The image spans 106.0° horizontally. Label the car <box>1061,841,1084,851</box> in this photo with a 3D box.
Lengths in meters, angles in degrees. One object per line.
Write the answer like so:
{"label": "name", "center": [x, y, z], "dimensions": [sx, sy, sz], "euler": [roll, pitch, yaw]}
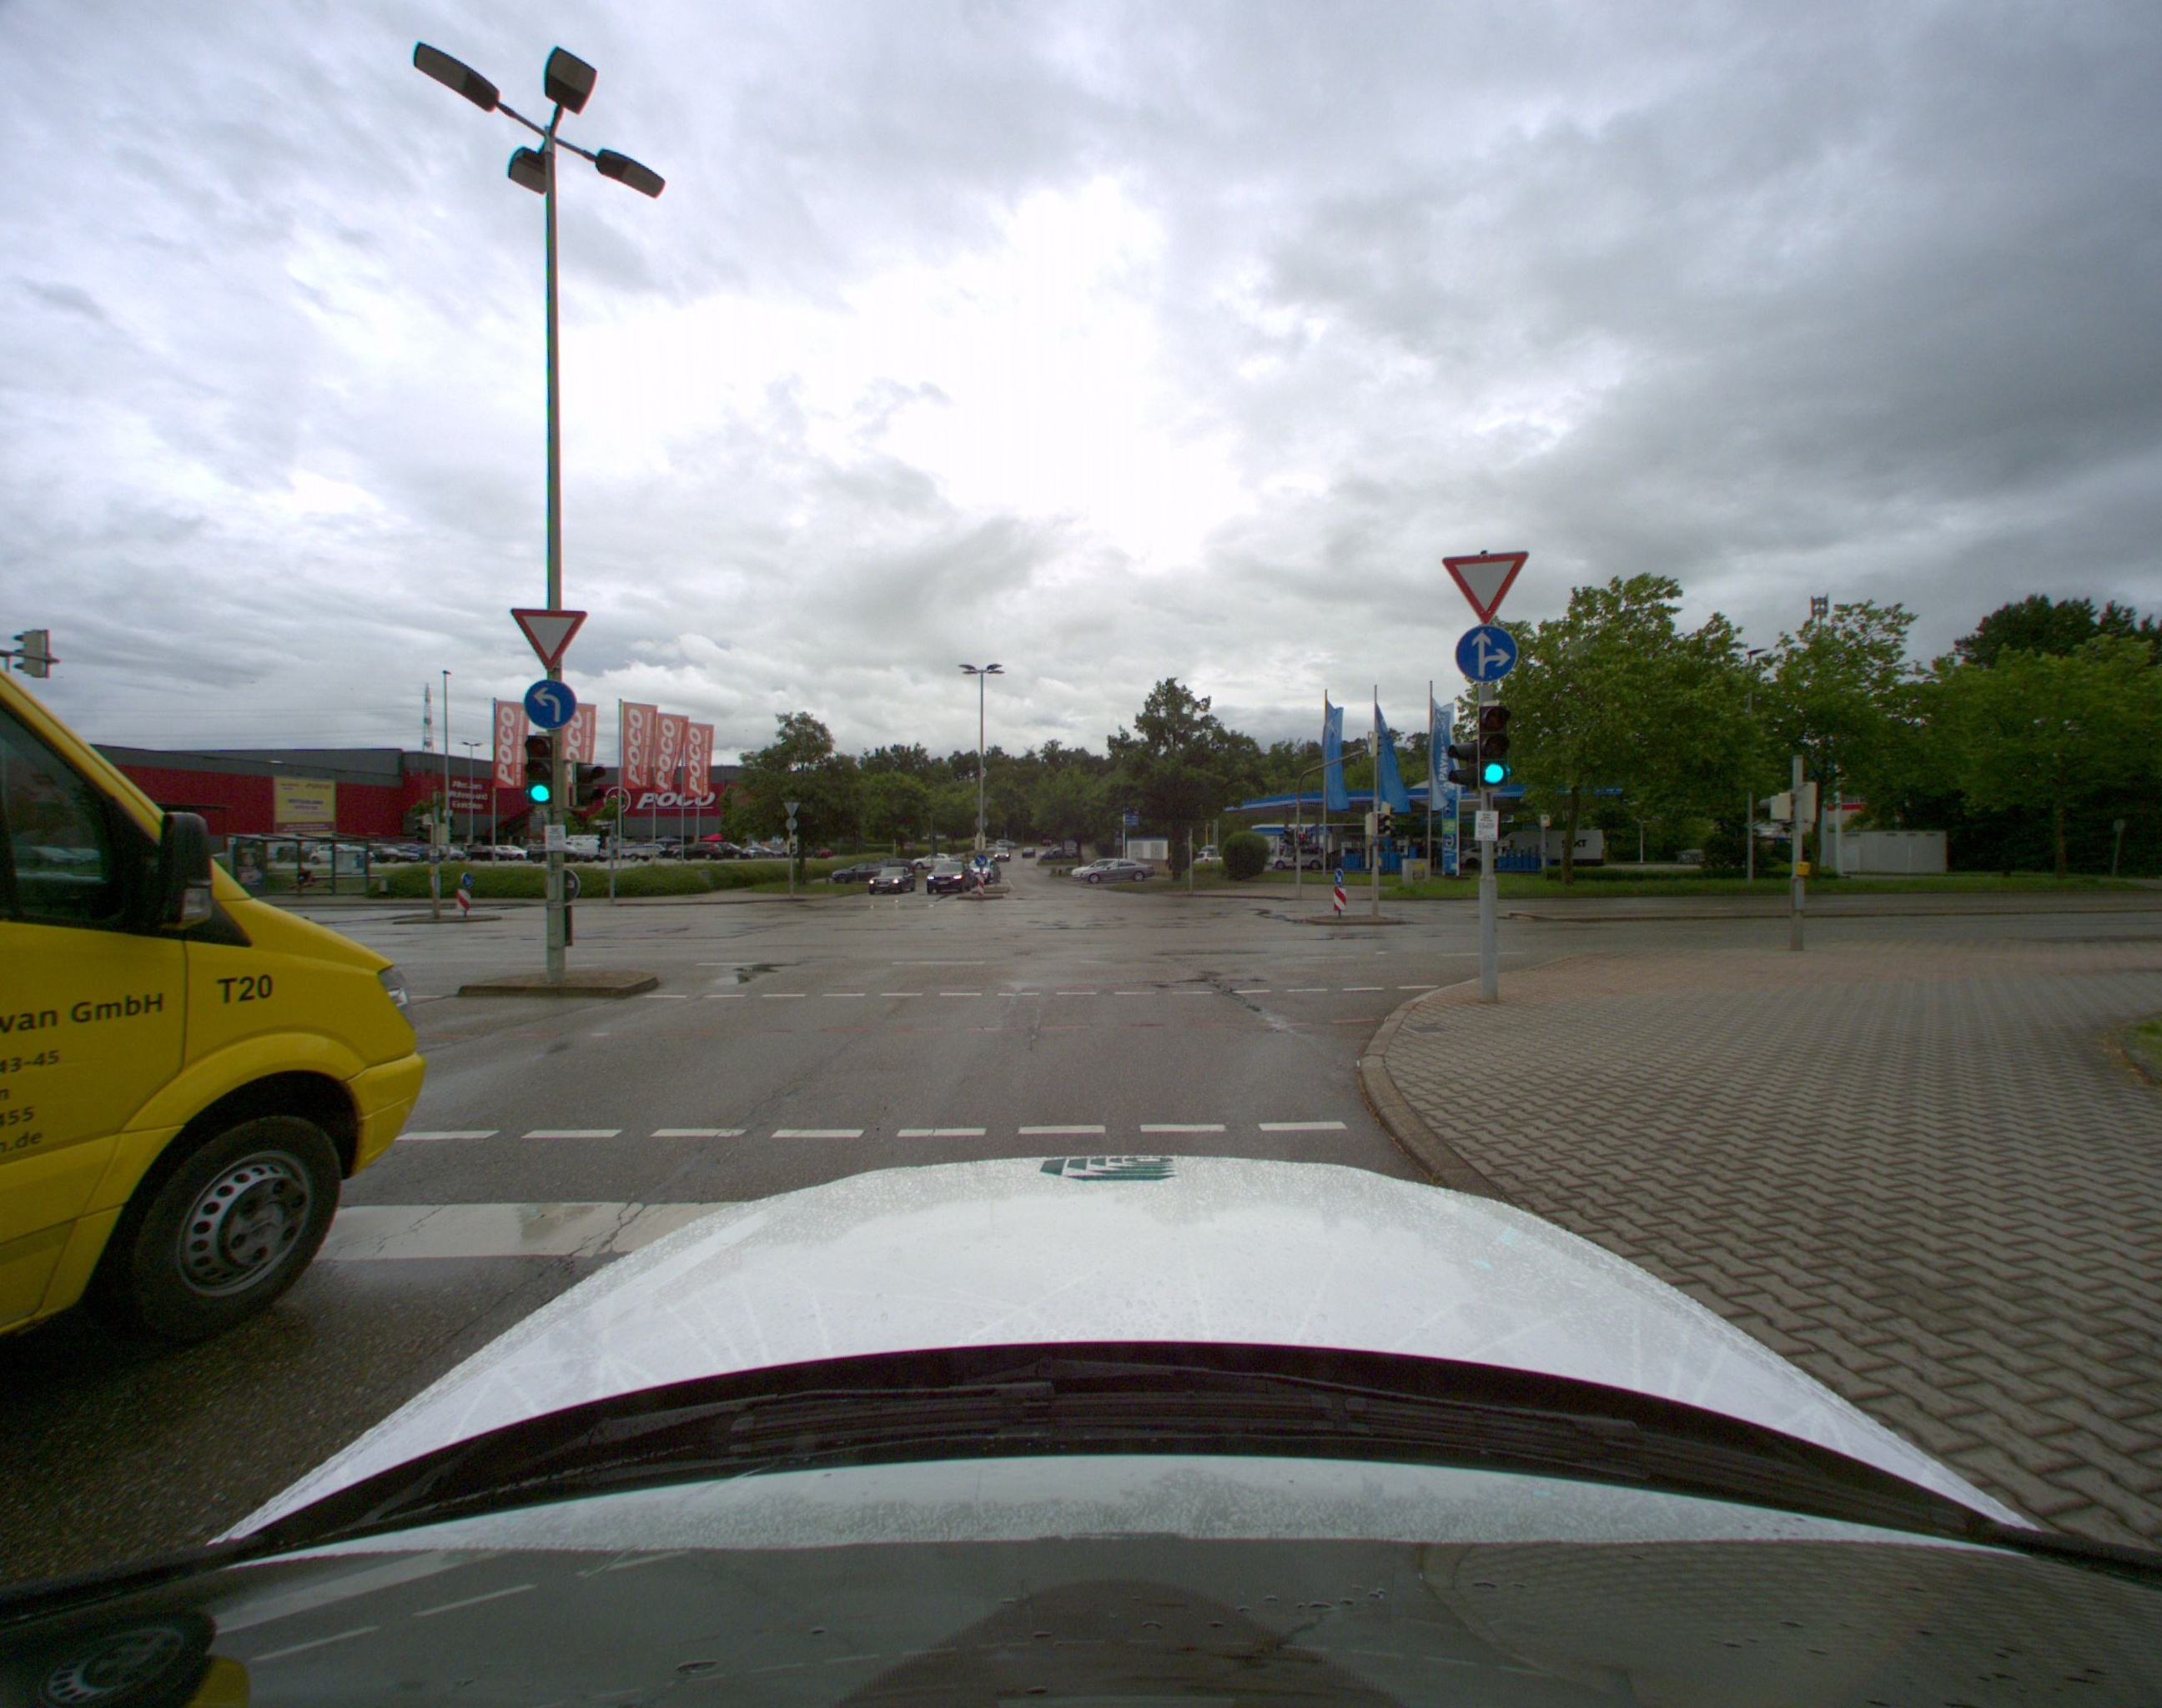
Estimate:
{"label": "car", "center": [-1.517, -1.459, 143.831], "dimensions": [3.979, 1.739, 1.808], "euler": [-1, -1, -4]}

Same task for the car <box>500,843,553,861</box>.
{"label": "car", "center": [-52.488, -0.147, 77.154], "dimensions": [3.933, 1.645, 1.674], "euler": [-1, -1, 3]}

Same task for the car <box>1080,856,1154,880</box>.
{"label": "car", "center": [2.433, 0.955, 55.743], "dimensions": [4.878, 1.549, 1.996], "euler": [-1, -1, -5]}

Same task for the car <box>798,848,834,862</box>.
{"label": "car", "center": [-31.908, 0.143, 98.087], "dimensions": [3.798, 1.645, 1.674], "euler": [-1, -1, 3]}

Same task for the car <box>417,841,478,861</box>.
{"label": "car", "center": [-53.914, -0.220, 69.373], "dimensions": [3.933, 1.645, 1.674], "euler": [-1, -1, 3]}

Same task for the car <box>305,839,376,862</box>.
{"label": "car", "center": [-56.159, -0.254, 61.773], "dimensions": [3.933, 1.645, 1.674], "euler": [-1, -1, 3]}

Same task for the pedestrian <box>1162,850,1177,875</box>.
{"label": "pedestrian", "center": [6.051, 0.577, 55.843], "dimensions": [0.808, 1.661, 0.884], "euler": [-1, -1, -7]}

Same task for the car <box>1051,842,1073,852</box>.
{"label": "car", "center": [-3.522, -1.338, 151.314], "dimensions": [3.979, 1.739, 1.808], "euler": [-1, -1, -4]}

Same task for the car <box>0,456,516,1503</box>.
{"label": "car", "center": [-3.674, 0.290, 1.158], "dimensions": [2.232, 2.474, 5.013], "euler": [-1, -1, 0]}

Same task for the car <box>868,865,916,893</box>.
{"label": "car", "center": [-10.324, 1.346, 44.774], "dimensions": [1.778, 1.404, 3.998], "euler": [-1, -1, -1]}

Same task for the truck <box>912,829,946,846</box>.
{"label": "truck", "center": [-35.577, -3.809, 190.308], "dimensions": [7.341, 3.861, 2.778], "euler": [-1, -1, 0]}

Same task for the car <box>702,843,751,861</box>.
{"label": "car", "center": [-33.002, -0.161, 75.902], "dimensions": [3.798, 1.645, 1.674], "euler": [-1, -1, 3]}

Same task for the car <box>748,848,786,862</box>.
{"label": "car", "center": [-36.915, 0.128, 95.681], "dimensions": [3.798, 1.645, 1.674], "euler": [-1, -1, 3]}

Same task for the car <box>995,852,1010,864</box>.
{"label": "car", "center": [-9.998, 0.507, 103.766], "dimensions": [1.694, 1.456, 3.667], "euler": [-1, -1, -4]}

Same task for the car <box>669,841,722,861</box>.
{"label": "car", "center": [-33.575, -0.228, 70.916], "dimensions": [3.798, 1.645, 1.674], "euler": [-1, -1, 3]}

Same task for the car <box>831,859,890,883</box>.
{"label": "car", "center": [-15.156, 1.179, 56.121], "dimensions": [3.643, 1.553, 1.682], "euler": [-1, -1, -5]}

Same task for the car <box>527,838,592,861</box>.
{"label": "car", "center": [-39.088, -0.341, 61.048], "dimensions": [3.798, 1.645, 1.674], "euler": [-1, -1, 3]}

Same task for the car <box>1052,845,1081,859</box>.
{"label": "car", "center": [-1.905, -0.247, 103.814], "dimensions": [3.690, 1.750, 1.695], "euler": [0, -1, -3]}

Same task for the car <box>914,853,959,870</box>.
{"label": "car", "center": [-14.727, 0.752, 82.950], "dimensions": [4.260, 1.609, 1.684], "euler": [-1, -1, -2]}

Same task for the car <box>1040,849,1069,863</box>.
{"label": "car", "center": [-3.173, 0.262, 97.259], "dimensions": [3.452, 1.654, 1.614], "euler": [0, -1, -3]}

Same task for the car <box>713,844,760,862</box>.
{"label": "car", "center": [-33.291, -0.121, 78.757], "dimensions": [3.798, 1.645, 1.674], "euler": [-1, -1, 3]}

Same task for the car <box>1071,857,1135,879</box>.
{"label": "car", "center": [1.619, 1.026, 61.076], "dimensions": [4.565, 1.589, 1.926], "euler": [-1, -1, -5]}

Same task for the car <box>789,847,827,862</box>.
{"label": "car", "center": [-31.947, 0.104, 95.300], "dimensions": [3.798, 1.645, 1.674], "euler": [-1, -1, 3]}

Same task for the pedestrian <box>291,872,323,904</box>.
{"label": "pedestrian", "center": [-34.378, 1.505, 36.165], "dimensions": [0.637, 1.432, 0.781], "euler": [-1, -2, -1]}

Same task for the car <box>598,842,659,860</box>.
{"label": "car", "center": [-35.441, -0.224, 63.861], "dimensions": [3.880, 1.381, 1.674], "euler": [-1, -1, 3]}

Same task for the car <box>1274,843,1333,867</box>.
{"label": "car", "center": [17.483, 0.081, 63.936], "dimensions": [4.075, 1.807, 1.958], "euler": [0, -1, 32]}

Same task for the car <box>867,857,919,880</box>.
{"label": "car", "center": [-14.206, 1.094, 61.733], "dimensions": [3.643, 1.724, 1.682], "euler": [-1, -1, -5]}

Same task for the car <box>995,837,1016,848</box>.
{"label": "car", "center": [-14.487, -2.199, 156.370], "dimensions": [3.974, 1.794, 1.856], "euler": [-1, -1, 0]}

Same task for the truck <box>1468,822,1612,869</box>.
{"label": "truck", "center": [29.140, -0.518, 52.022], "dimensions": [7.774, 2.675, 2.168], "euler": [-2, 1, 27]}

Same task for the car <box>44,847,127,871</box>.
{"label": "car", "center": [-70.896, 0.359, 58.005], "dimensions": [3.933, 1.645, 1.699], "euler": [-1, -1, 3]}

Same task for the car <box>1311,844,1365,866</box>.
{"label": "car", "center": [21.312, 0.101, 67.672], "dimensions": [3.949, 1.728, 1.806], "euler": [-2, -1, 29]}

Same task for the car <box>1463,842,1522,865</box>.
{"label": "car", "center": [29.075, -0.053, 57.556], "dimensions": [3.517, 1.582, 1.700], "euler": [1, 0, 34]}

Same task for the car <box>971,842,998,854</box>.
{"label": "car", "center": [-14.887, -0.965, 125.736], "dimensions": [3.980, 1.794, 1.853], "euler": [-1, -1, -5]}

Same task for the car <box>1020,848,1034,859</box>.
{"label": "car", "center": [-7.662, -0.041, 115.646], "dimensions": [1.804, 1.482, 3.745], "euler": [-1, -1, -4]}

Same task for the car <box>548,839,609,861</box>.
{"label": "car", "center": [-39.440, -0.297, 64.021], "dimensions": [3.798, 1.645, 1.633], "euler": [-1, -1, 3]}

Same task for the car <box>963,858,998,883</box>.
{"label": "car", "center": [-6.772, 1.075, 55.286], "dimensions": [1.890, 1.553, 3.998], "euler": [-1, 1, -1]}

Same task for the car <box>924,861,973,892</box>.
{"label": "car", "center": [-6.961, 1.160, 43.096], "dimensions": [1.890, 1.553, 4.589], "euler": [-1, -1, -1]}

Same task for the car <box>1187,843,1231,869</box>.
{"label": "car", "center": [9.307, 0.152, 59.535], "dimensions": [1.811, 1.797, 3.681], "euler": [0, -1, -15]}

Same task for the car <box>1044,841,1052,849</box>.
{"label": "car", "center": [-7.468, -2.014, 183.567], "dimensions": [1.800, 1.739, 3.996], "euler": [-1, -1, -3]}
